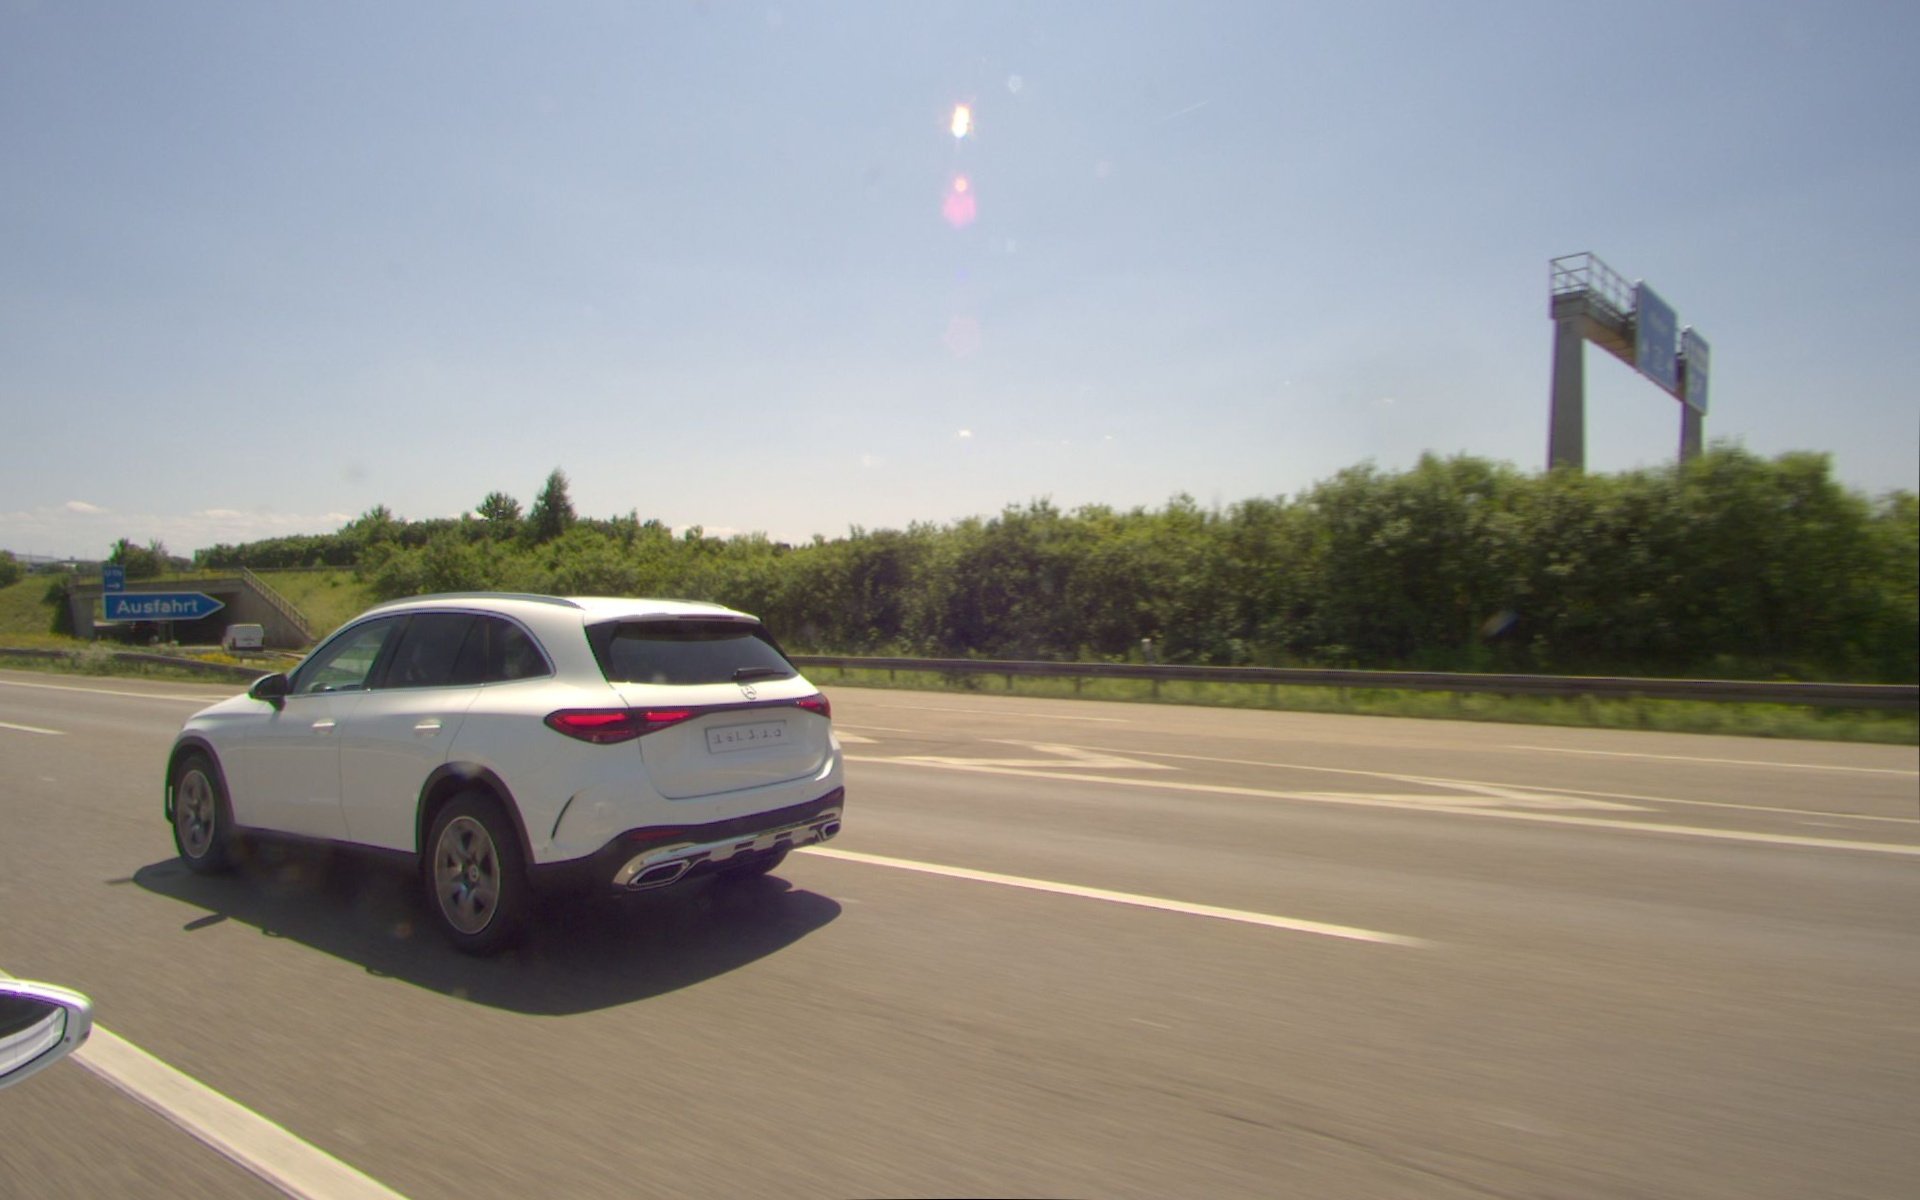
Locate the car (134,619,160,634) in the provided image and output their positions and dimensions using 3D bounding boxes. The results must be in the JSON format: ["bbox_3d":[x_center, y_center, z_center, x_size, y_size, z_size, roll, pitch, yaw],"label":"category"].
[{"bbox_3d":[-99.464,3.222,122.466,3.958,1.772,1.983,-2,-2,43],"label":"car"}]

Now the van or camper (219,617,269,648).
[{"bbox_3d":[-48.462,2.228,67.776,2.142,2.039,4.262,1,-2,-44],"label":"van or camper"}]

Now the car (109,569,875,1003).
[{"bbox_3d":[-3.035,0.809,6.018,4.930,1.668,1.894,-2,-2,33],"label":"car"}]
